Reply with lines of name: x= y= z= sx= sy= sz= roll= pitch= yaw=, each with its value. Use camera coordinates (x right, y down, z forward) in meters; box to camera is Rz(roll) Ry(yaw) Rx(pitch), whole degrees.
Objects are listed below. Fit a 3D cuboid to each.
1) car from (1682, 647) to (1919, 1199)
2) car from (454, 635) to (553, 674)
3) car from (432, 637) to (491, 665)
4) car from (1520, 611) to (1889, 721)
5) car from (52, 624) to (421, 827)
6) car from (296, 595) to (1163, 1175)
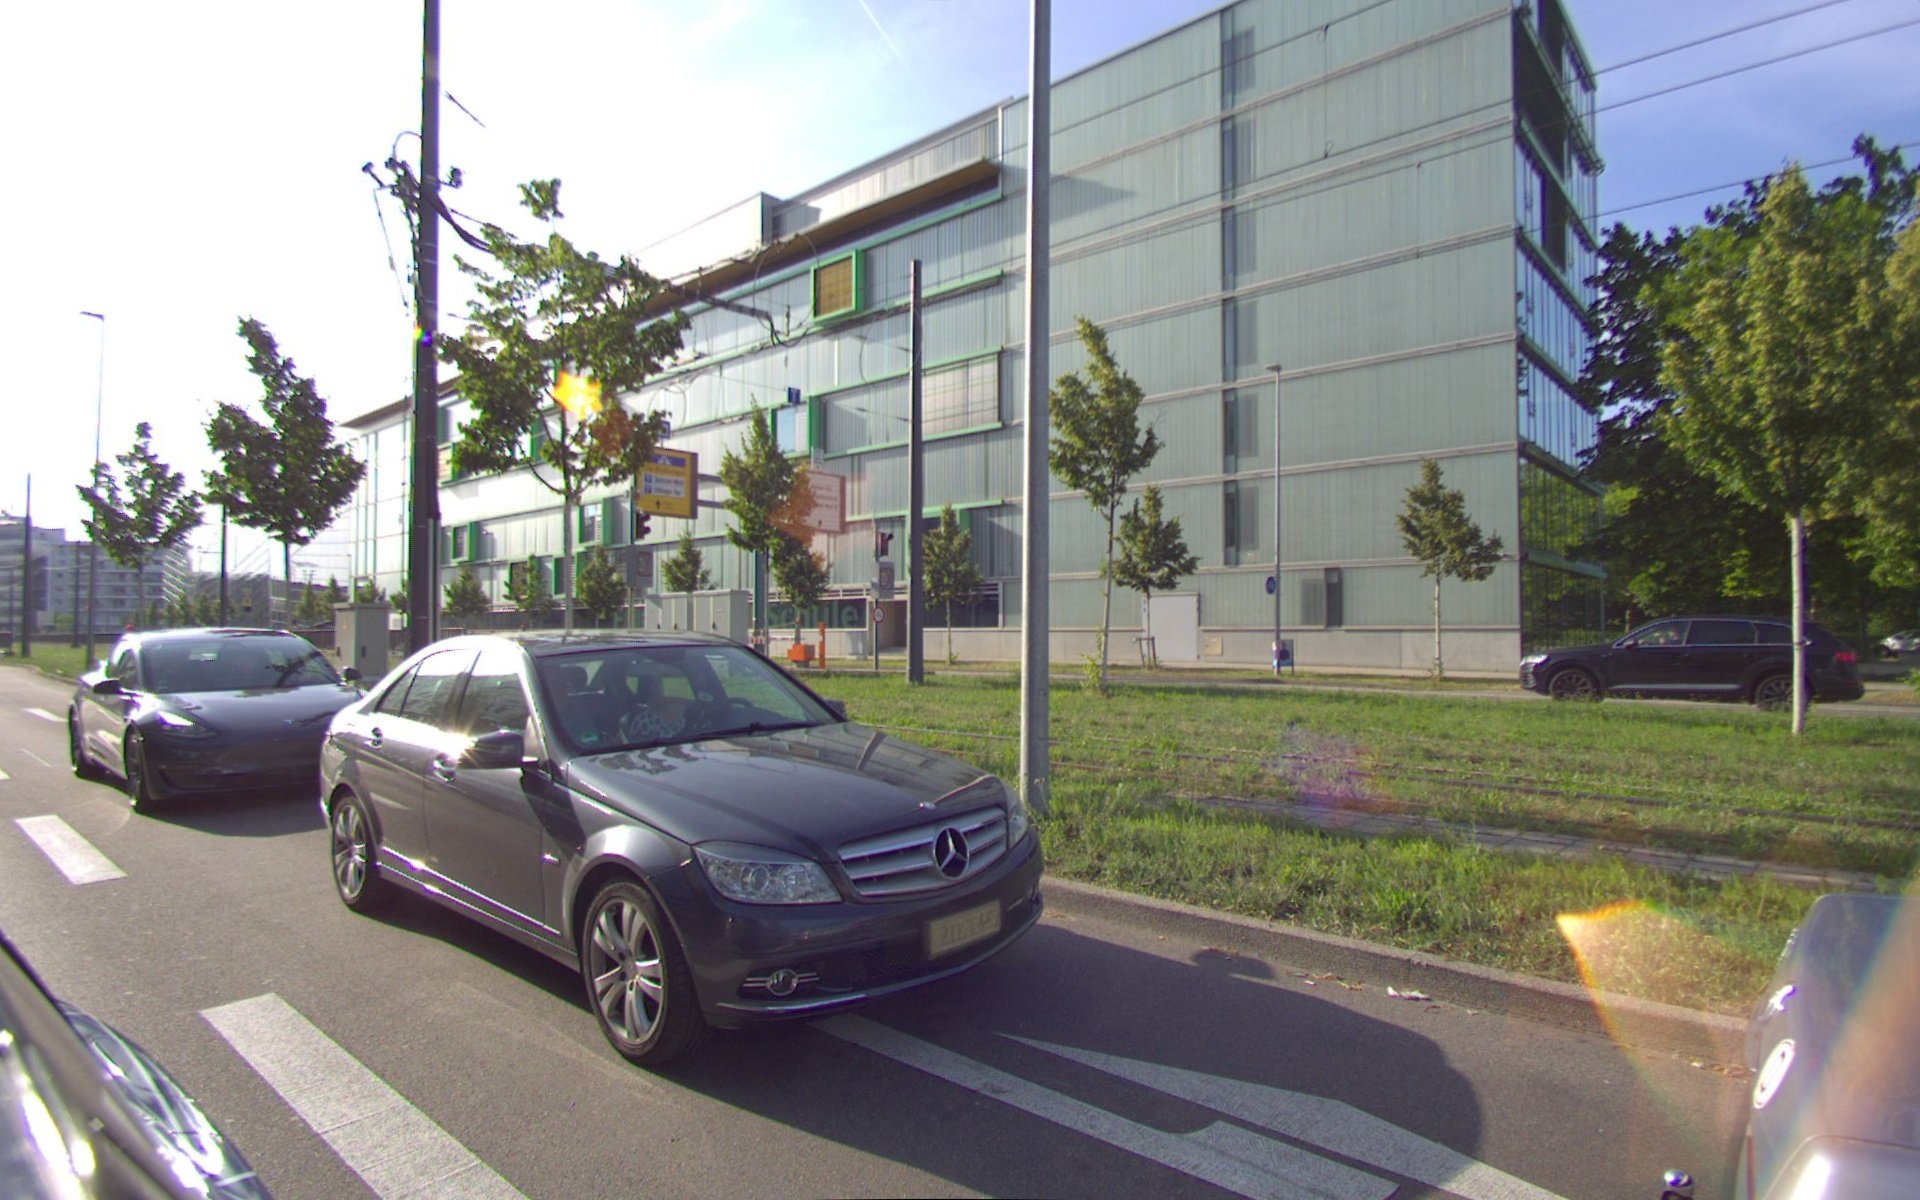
car: x=2.998 y=0.721 z=0.279 sx=4.397 sy=1.340 sz=1.745 roll=-2 pitch=-1 yaw=41
car: x=-19.044 y=2.231 z=42.133 sx=4.305 sy=1.539 sz=1.975 roll=-2 pitch=-3 yaw=37
car: x=-30.560 y=3.110 z=62.006 sx=4.179 sy=1.647 sz=1.888 roll=-2 pitch=-2 yaw=42
car: x=12.951 y=1.114 z=17.948 sx=4.989 sy=1.697 sz=1.974 roll=-2 pitch=-3 yaw=39
car: x=-6.843 y=0.981 z=9.382 sx=4.333 sy=1.396 sz=1.870 roll=-2 pitch=-1 yaw=42
car: x=-1.427 y=0.802 z=4.752 sx=4.352 sy=1.490 sz=1.768 roll=-2 pitch=-1 yaw=42
